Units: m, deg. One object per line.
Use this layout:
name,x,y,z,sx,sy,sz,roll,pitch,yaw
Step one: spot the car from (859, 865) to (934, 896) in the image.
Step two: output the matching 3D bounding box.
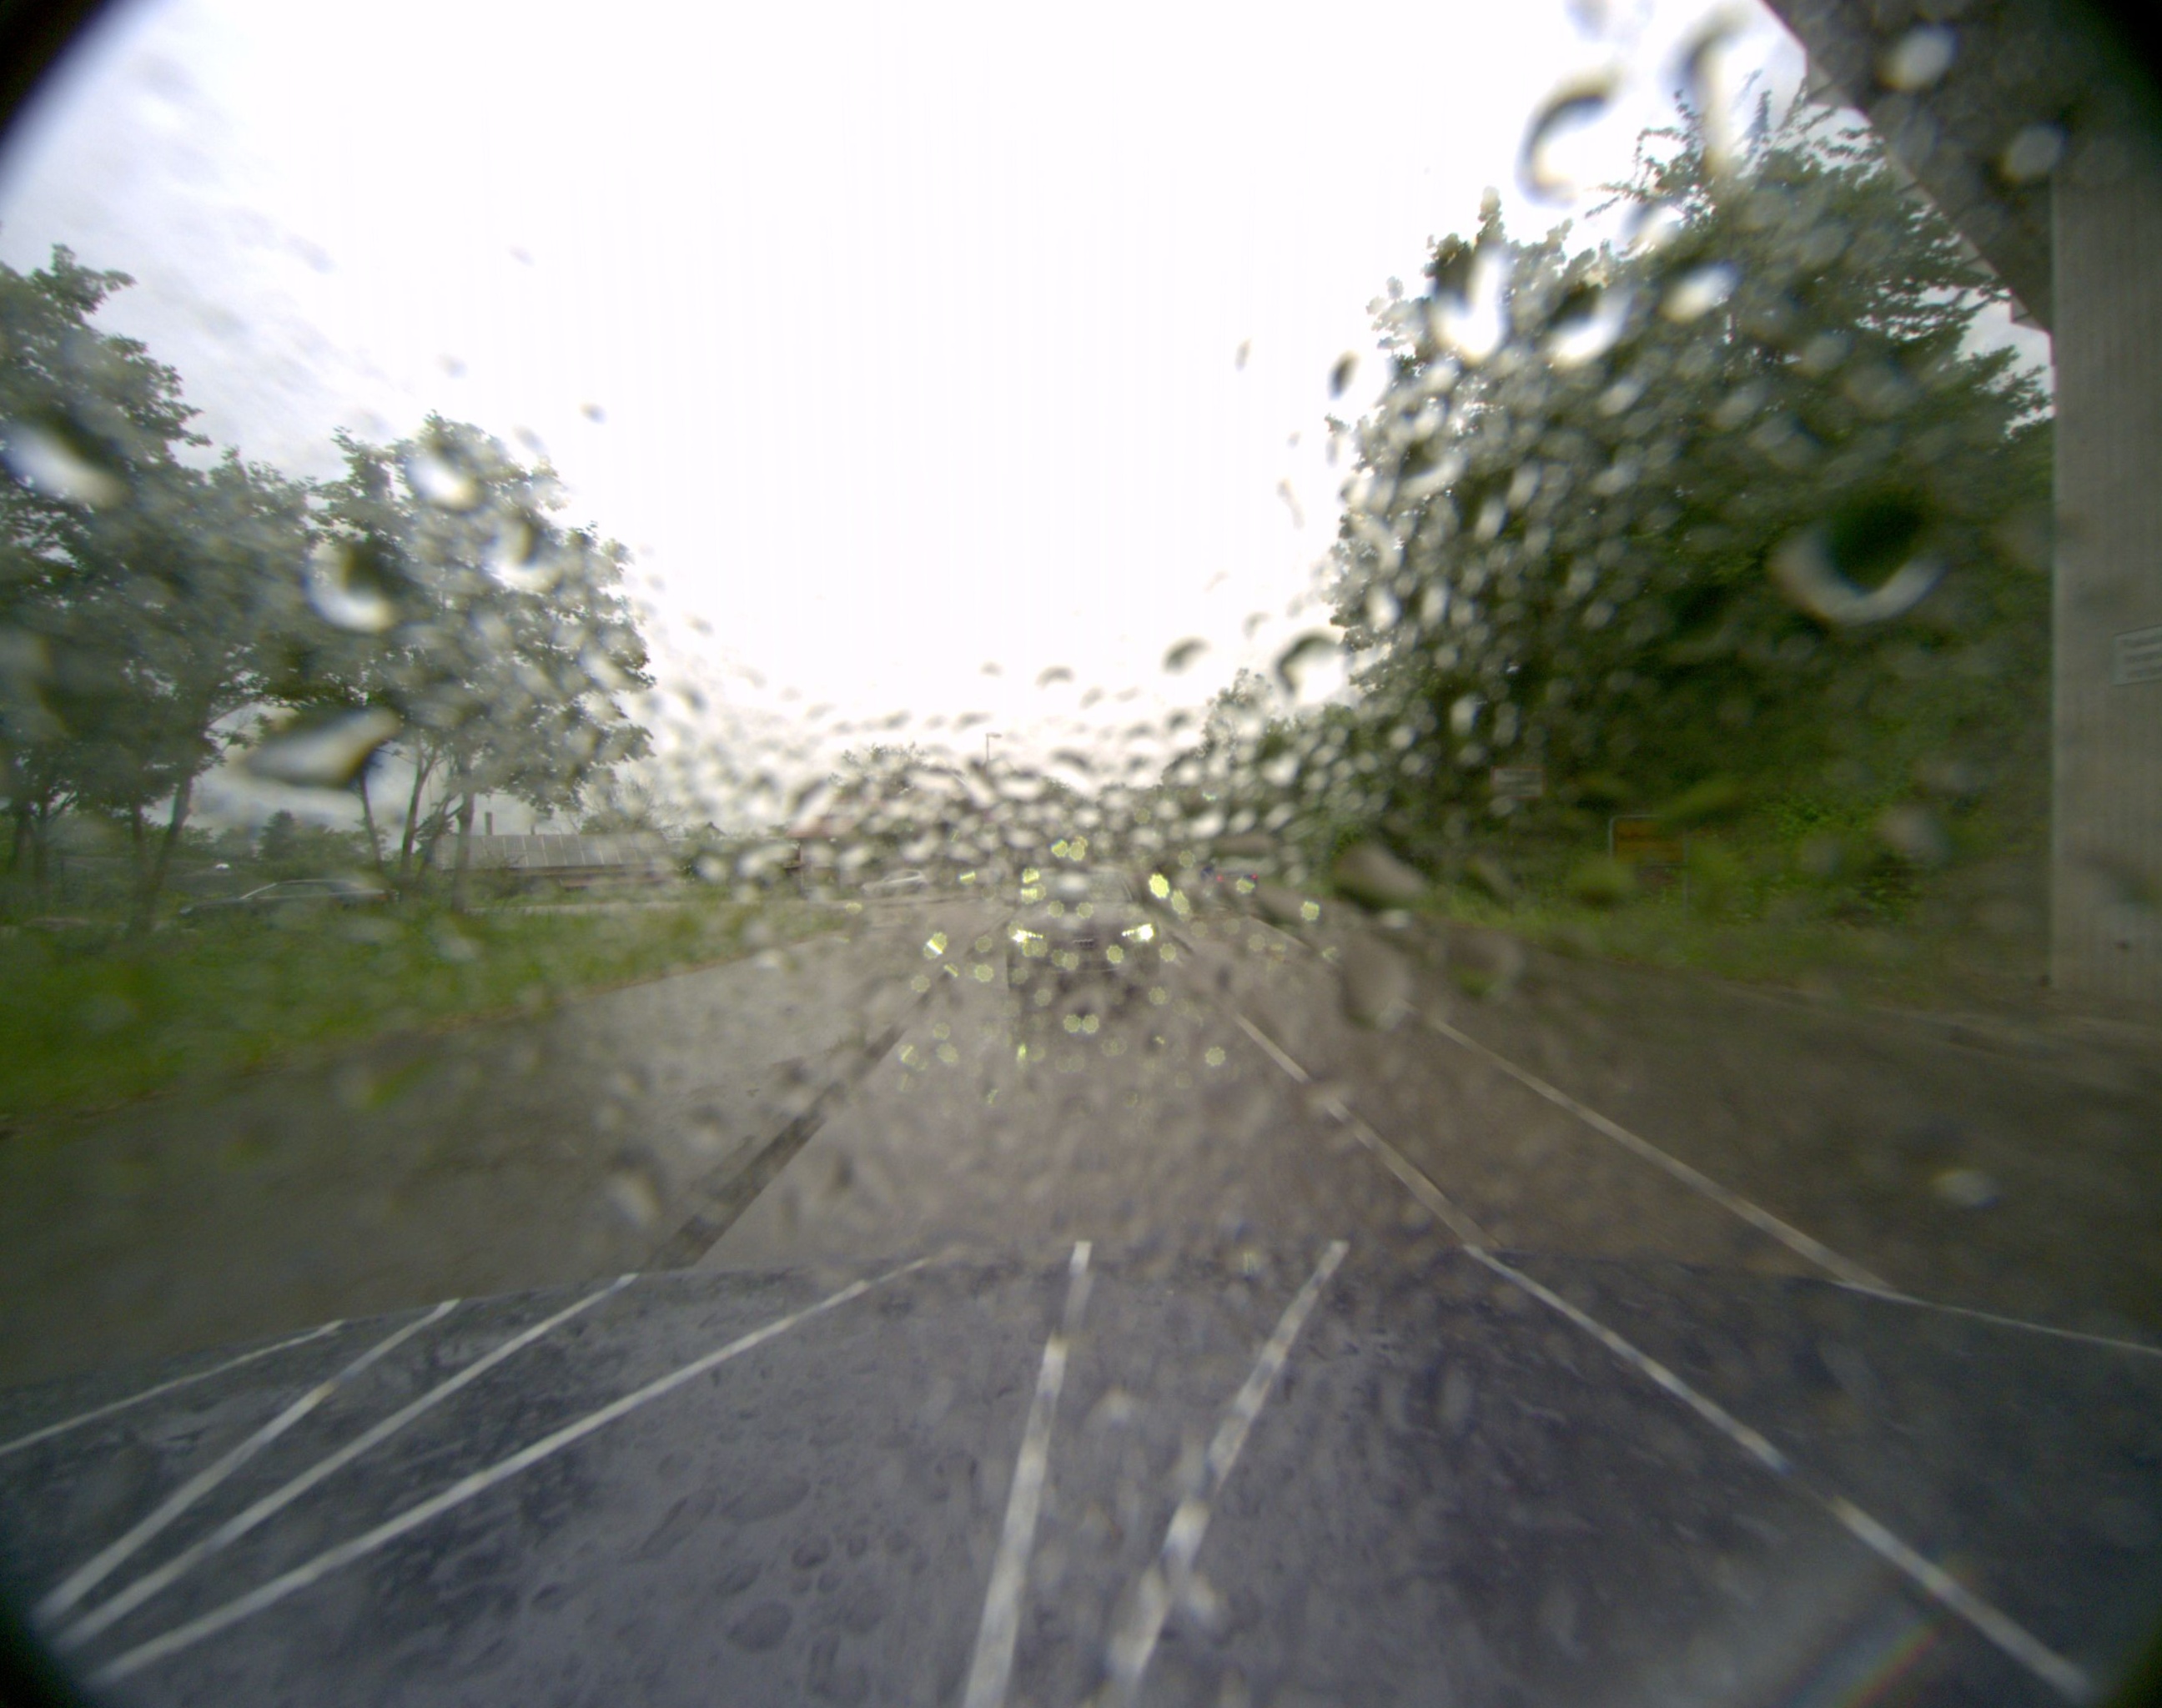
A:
car,-10.902,1.555,44.908,3.862,1.523,1.715,-4,1,-31

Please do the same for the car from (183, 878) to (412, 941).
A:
car,-21.817,1.482,21.449,4.117,1.351,1.900,-4,1,-33

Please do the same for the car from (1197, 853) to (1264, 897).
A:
car,5.587,0.738,28.838,1.695,1.478,4.072,-2,0,0

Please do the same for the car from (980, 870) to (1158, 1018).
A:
car,-0.061,0.979,10.118,1.766,1.316,4.549,-3,0,2
